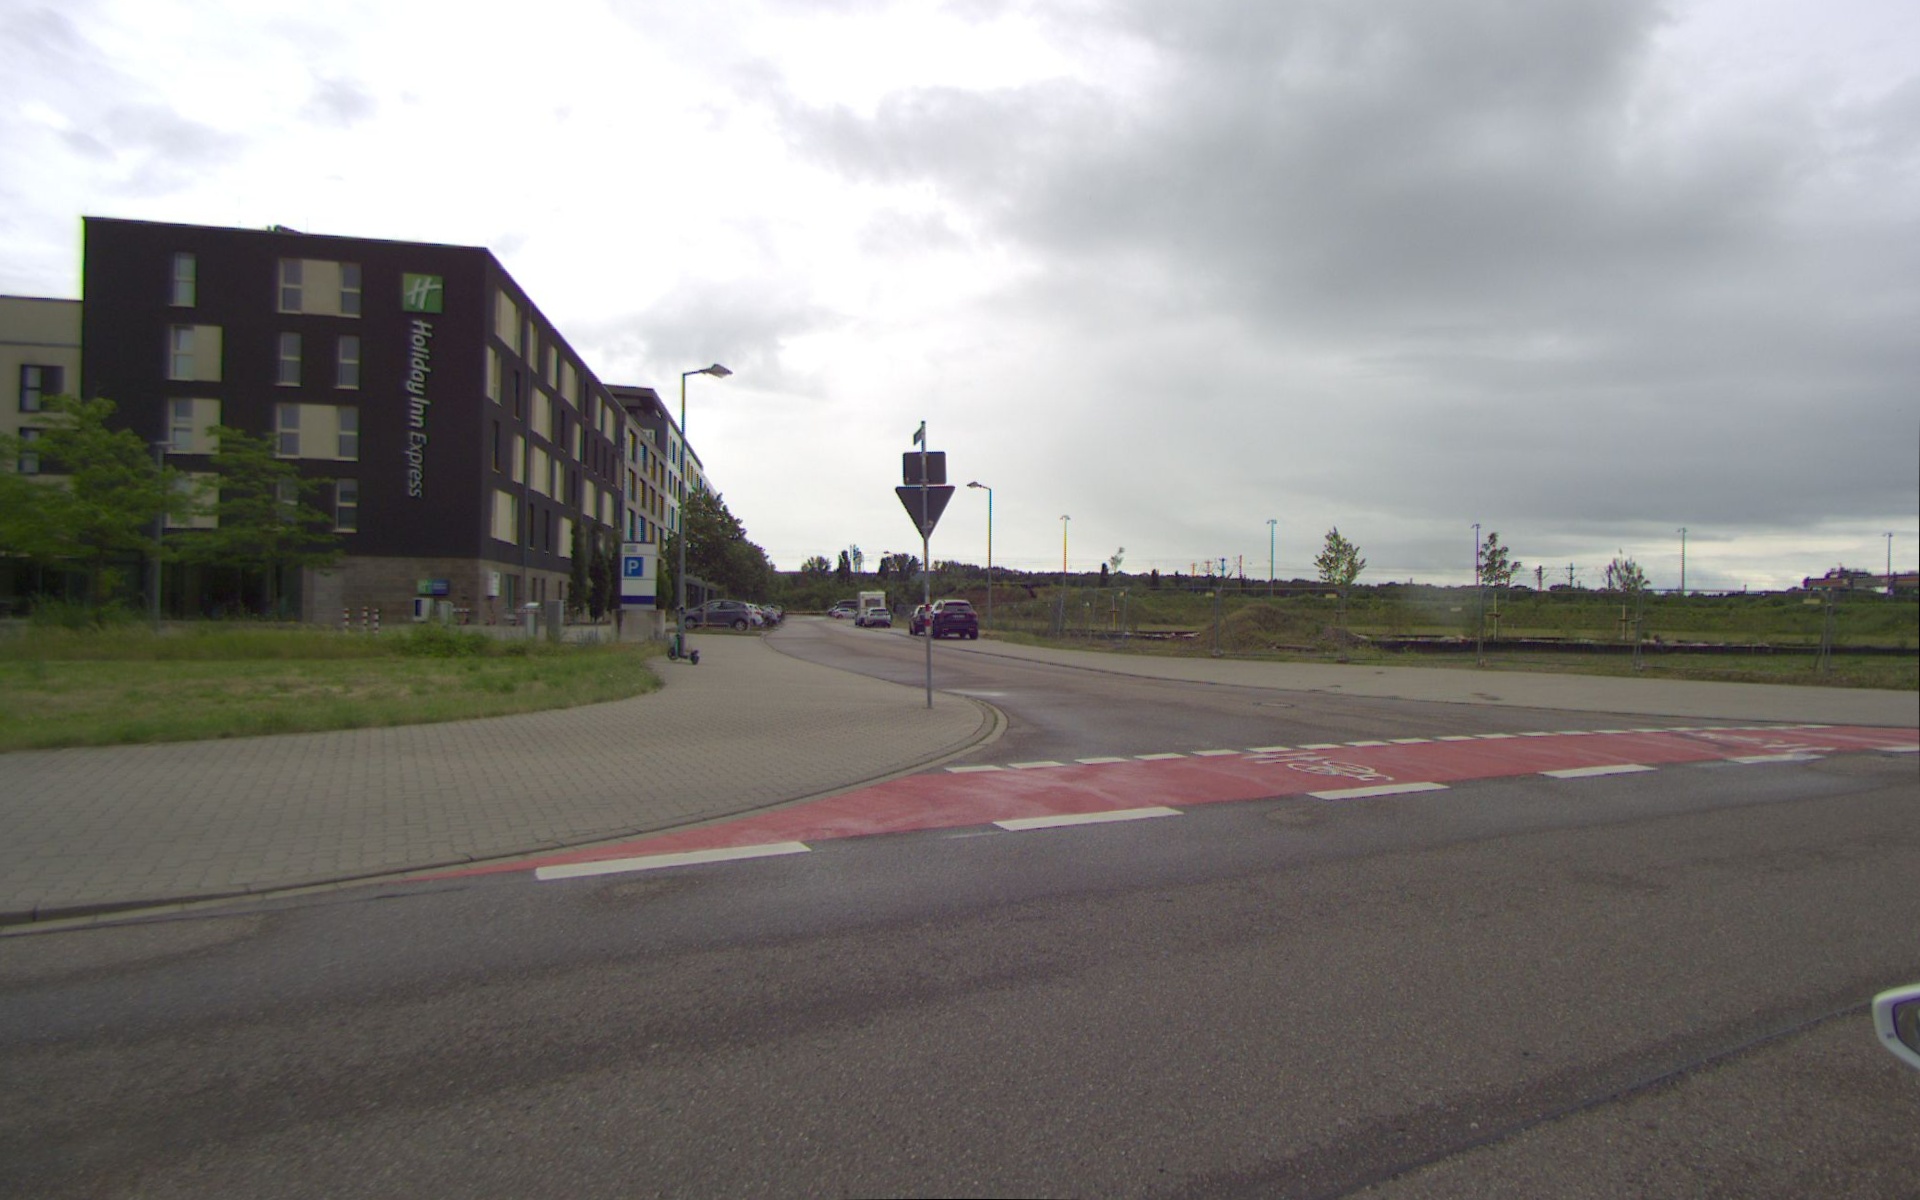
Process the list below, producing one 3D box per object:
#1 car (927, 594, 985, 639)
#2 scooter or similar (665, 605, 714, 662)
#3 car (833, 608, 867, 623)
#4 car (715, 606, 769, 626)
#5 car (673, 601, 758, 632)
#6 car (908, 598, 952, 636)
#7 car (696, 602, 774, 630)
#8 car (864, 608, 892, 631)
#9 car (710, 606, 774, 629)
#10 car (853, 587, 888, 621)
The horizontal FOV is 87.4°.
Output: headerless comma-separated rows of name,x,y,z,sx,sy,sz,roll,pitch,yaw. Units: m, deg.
car,-0.226,0.698,43.130,1.963,1.847,3.994,0,0,-9
scooter or similar,-5.920,0.718,21.941,0.566,1.184,1.453,2,0,-35
car,-16.217,2.320,147.905,4.833,2.040,1.997,1,-1,-9
car,-16.495,1.212,75.977,3.931,1.478,1.741,1,-1,-13
car,-11.802,0.811,48.707,3.929,1.461,1.695,0,0,-12
car,-1.486,0.819,48.620,1.772,1.776,3.671,0,0,-8
car,-12.577,0.897,56.077,4.087,1.538,1.992,0,0,-18
car,-6.778,1.580,82.493,1.964,1.770,3.994,0,0,-9
car,-13.789,1.100,63.527,3.932,1.416,1.740,1,-1,-14
car,-8.142,0.377,90.542,2.665,2.996,6.566,0,0,-9
